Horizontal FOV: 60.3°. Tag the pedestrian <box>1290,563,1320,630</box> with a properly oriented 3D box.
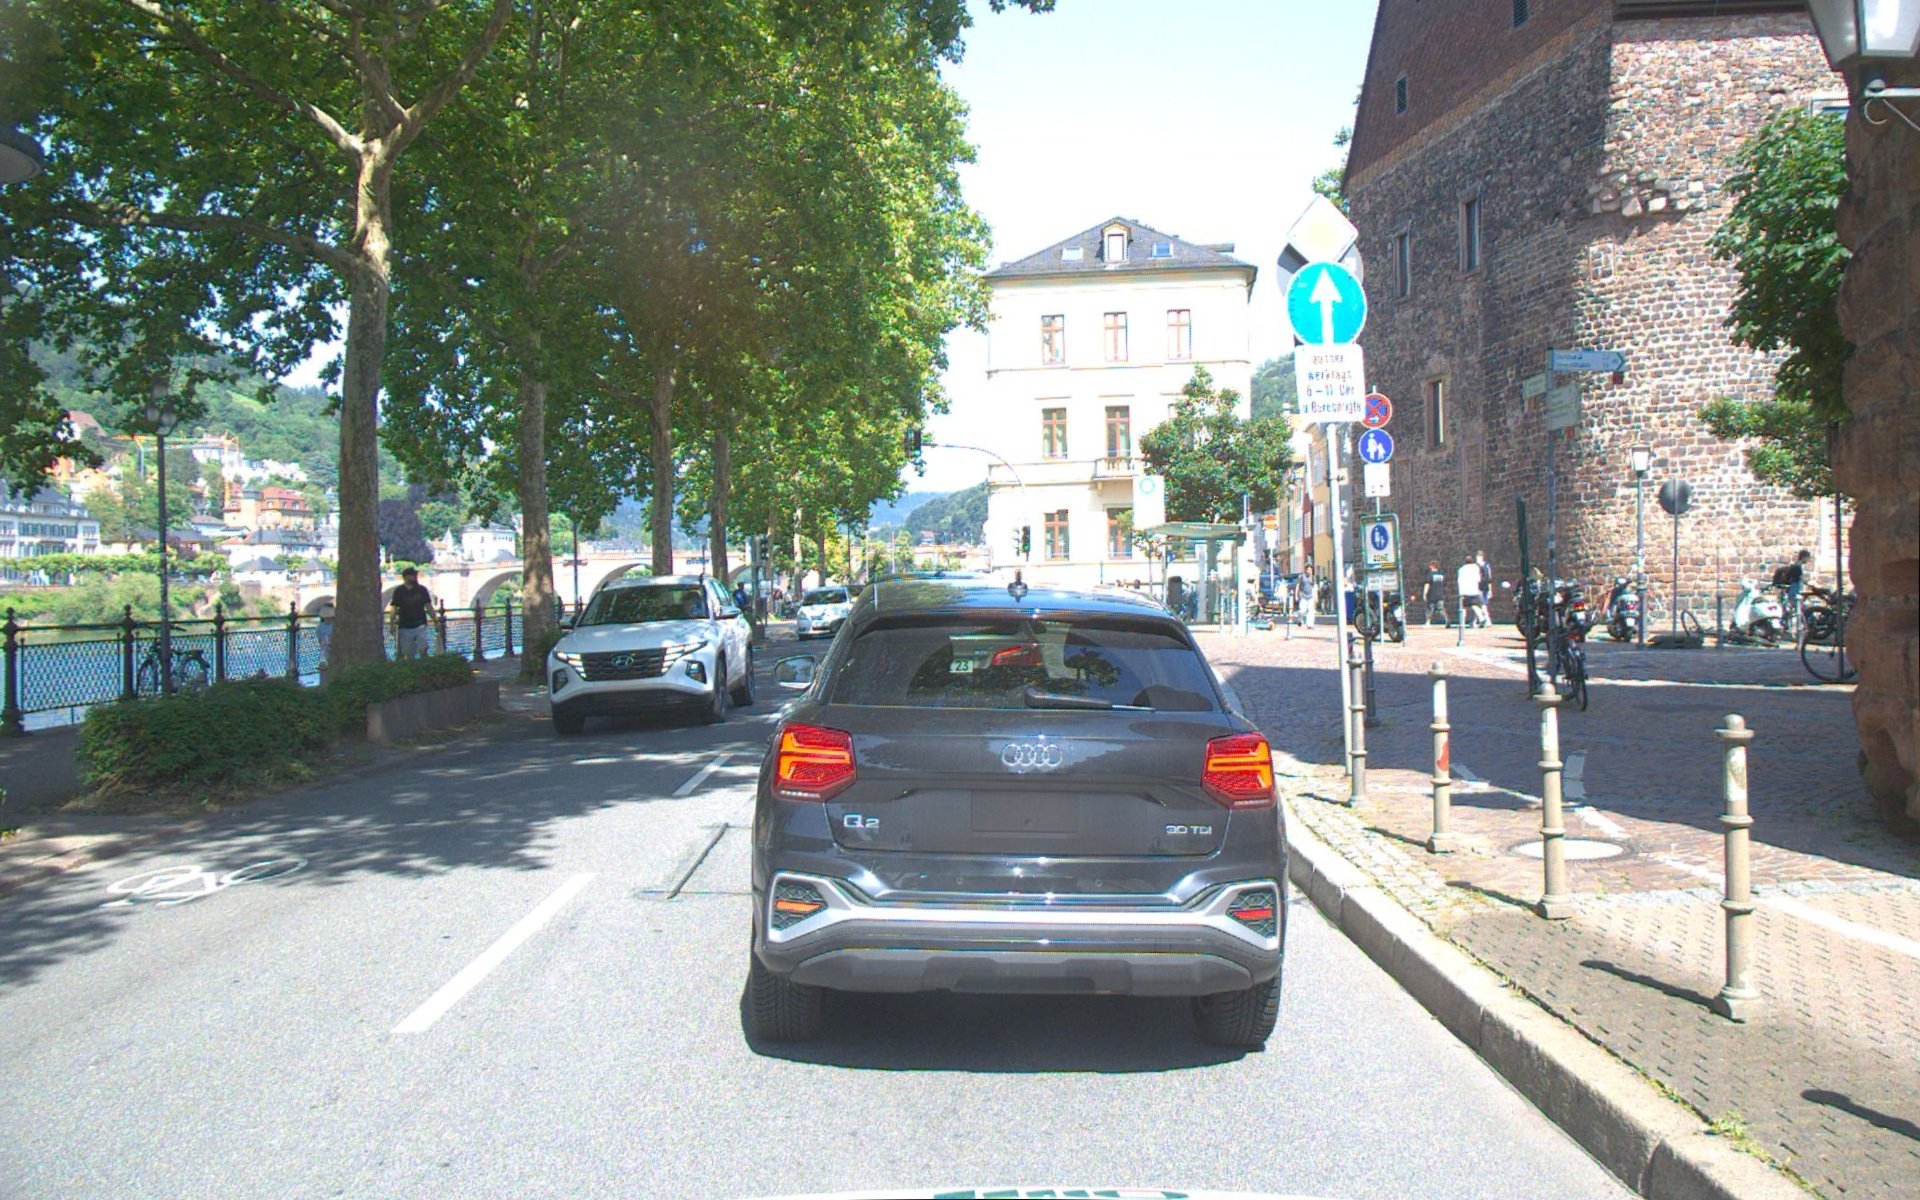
[{"bbox_3d":[10.017,-0.100,48.024,0.732,1.923,0.752,1,-1,1],"label":"pedestrian"}]

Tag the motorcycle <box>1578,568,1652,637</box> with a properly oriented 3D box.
[{"bbox_3d":[12.311,0.056,31.142,0.535,1.257,2.030,1,0,-1],"label":"motorcycle"}]

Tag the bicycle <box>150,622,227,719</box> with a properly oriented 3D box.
[{"bbox_3d":[-9.533,0.856,20.467,0.352,1.110,1.295,2,0,-2],"label":"bicycle"}]

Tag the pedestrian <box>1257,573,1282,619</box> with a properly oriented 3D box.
[{"bbox_3d":[13.891,-0.187,74.278,0.925,2.049,0.807,1,-1,-1],"label":"pedestrian"}]

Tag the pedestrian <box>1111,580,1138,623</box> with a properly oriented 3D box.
[{"bbox_3d":[4.779,0.035,48.174,0.651,1.233,0.640,1,-1,-7],"label":"pedestrian"}]

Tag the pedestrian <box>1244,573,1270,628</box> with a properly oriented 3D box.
[{"bbox_3d":[7.659,0.017,42.668,0.546,1.409,0.588,1,-1,1],"label":"pedestrian"}]

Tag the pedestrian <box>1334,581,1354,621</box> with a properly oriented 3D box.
[{"bbox_3d":[16.086,0.053,69.275,0.677,1.640,0.891,-2,0,21],"label":"pedestrian"}]

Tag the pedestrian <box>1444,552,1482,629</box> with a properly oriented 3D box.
[{"bbox_3d":[12.678,-0.243,41.695,0.655,1.917,0.821,1,-1,-2],"label":"pedestrian"}]

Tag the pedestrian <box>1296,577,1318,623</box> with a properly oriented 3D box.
[{"bbox_3d":[15.622,-0.009,74.464,0.822,2.049,0.738,1,-1,-1],"label":"pedestrian"}]

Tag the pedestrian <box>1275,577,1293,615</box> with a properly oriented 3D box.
[{"bbox_3d":[13.566,-0.164,69.246,0.610,1.558,0.466,1,-1,-5],"label":"pedestrian"}]

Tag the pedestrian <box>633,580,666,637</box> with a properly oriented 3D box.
[{"bbox_3d":[-10.255,0.285,54.627,0.891,1.843,0.586,1,-2,3],"label":"pedestrian"}]

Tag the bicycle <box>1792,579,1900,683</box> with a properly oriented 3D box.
[{"bbox_3d":[10.604,0.344,19.849,0.437,1.182,1.731,-1,1,3],"label":"bicycle"}]

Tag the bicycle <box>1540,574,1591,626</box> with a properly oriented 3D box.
[{"bbox_3d":[14.807,0.007,40.493,0.381,1.230,1.715,1,0,-9],"label":"bicycle"}]

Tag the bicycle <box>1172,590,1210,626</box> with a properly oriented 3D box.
[{"bbox_3d":[6.858,0.234,49.101,1.184,1.053,0.178,1,-1,-20],"label":"bicycle"}]

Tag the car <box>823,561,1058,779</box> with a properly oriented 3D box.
[{"bbox_3d":[-0.172,0.516,14.228,1.756,1.623,3.398,1,0,-1],"label":"car"}]

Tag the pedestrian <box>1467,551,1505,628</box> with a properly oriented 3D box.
[{"bbox_3d":[13.429,-0.267,42.237,0.655,1.954,0.821,1,-1,-2],"label":"pedestrian"}]

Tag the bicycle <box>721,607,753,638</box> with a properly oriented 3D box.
[{"bbox_3d":[-7.505,0.752,55.712,1.072,1.024,0.303,1,-1,-8],"label":"bicycle"}]

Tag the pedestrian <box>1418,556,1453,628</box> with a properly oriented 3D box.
[{"bbox_3d":[12.331,-0.206,42.903,0.639,1.834,0.847,0,0,-2],"label":"pedestrian"}]

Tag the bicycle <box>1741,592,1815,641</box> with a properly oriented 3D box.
[{"bbox_3d":[15.128,0.292,30.624,0.346,0.835,1.926,1,1,-2],"label":"bicycle"}]

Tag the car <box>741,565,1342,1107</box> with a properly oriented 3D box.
[{"bbox_3d":[0.213,0.663,6.586,1.707,1.535,3.646,1,1,-1],"label":"car"}]

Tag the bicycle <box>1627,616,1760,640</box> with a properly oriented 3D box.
[{"bbox_3d":[12.271,0.464,27.727,1.887,0.388,0.918,0,-1,14],"label":"bicycle"}]

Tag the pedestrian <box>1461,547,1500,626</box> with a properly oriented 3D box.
[{"bbox_3d":[13.587,-0.348,43.184,0.715,2.049,0.878,1,-1,-1],"label":"pedestrian"}]

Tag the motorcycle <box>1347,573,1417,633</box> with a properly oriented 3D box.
[{"bbox_3d":[7.690,0.038,30.230,0.555,1.030,2.489,-1,1,-2],"label":"motorcycle"}]

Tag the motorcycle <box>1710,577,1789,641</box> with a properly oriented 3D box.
[{"bbox_3d":[14.084,0.157,29.548,0.496,1.092,1.840,1,0,-1],"label":"motorcycle"}]

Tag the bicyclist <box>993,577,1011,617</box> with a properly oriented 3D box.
[{"bbox_3d":[1.565,-0.100,61.547,0.593,1.475,0.590,1,-1,-6],"label":"bicyclist"}]

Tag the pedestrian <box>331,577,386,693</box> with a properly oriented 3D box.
[{"bbox_3d":[-9.035,0.517,24.857,0.589,1.715,0.583,-1,0,-2],"label":"pedestrian"}]

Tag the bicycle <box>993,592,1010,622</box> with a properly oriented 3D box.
[{"bbox_3d":[1.548,0.248,61.536,0.428,1.105,1.675,1,0,-5],"label":"bicycle"}]

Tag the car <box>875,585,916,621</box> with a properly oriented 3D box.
[{"bbox_3d":[-3.393,0.186,88.201,1.952,1.838,4.000,1,0,1],"label":"car"}]

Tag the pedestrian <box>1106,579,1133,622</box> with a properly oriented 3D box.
[{"bbox_3d":[4.718,0.013,48.939,0.651,1.253,0.640,1,-1,-7],"label":"pedestrian"}]

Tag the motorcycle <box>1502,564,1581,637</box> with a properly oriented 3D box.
[{"bbox_3d":[10.586,0.016,30.192,0.642,1.288,2.199,0,0,-1],"label":"motorcycle"}]

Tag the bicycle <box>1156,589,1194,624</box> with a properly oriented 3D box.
[{"bbox_3d":[6.455,0.205,49.672,1.166,1.033,0.178,1,-1,-20],"label":"bicycle"}]

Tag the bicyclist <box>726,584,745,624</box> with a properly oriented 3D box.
[{"bbox_3d":[-7.563,0.149,55.733,0.555,1.334,0.551,1,-1,-5],"label":"bicyclist"}]

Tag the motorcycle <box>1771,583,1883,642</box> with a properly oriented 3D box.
[{"bbox_3d":[16.413,0.229,31.324,1.826,1.072,0.480,1,-1,7],"label":"motorcycle"}]

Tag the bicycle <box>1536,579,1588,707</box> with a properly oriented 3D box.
[{"bbox_3d":[6.132,0.401,16.882,0.189,1.225,1.771,0,1,10],"label":"bicycle"}]

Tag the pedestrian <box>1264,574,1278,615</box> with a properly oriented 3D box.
[{"bbox_3d":[13.037,-0.237,69.230,0.440,1.710,0.465,1,-1,-6],"label":"pedestrian"}]

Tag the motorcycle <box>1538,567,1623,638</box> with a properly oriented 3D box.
[{"bbox_3d":[11.418,0.051,30.505,0.661,1.257,2.312,1,0,-1],"label":"motorcycle"}]

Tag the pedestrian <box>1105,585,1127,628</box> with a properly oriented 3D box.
[{"bbox_3d":[5.551,0.227,58.729,0.679,1.526,0.513,1,-1,-5],"label":"pedestrian"}]

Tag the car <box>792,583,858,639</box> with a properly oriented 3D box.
[{"bbox_3d":[-4.257,0.316,52.589,1.703,1.599,4.091,-4,1,-1],"label":"car"}]

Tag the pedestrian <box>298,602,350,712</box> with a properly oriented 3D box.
[{"bbox_3d":[-8.147,0.721,21.205,0.469,1.386,0.417,1,0,3],"label":"pedestrian"}]

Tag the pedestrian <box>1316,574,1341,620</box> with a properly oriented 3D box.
[{"bbox_3d":[16.619,-0.112,74.628,0.921,2.049,0.807,1,-1,-1],"label":"pedestrian"}]

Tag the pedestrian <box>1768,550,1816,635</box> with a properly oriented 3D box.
[{"bbox_3d":[16.726,-0.147,33.262,0.791,1.691,0.656,-1,0,24],"label":"pedestrian"}]

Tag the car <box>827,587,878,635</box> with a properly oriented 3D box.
[{"bbox_3d":[-4.505,0.443,69.969,1.777,1.754,4.421,-6,1,-1],"label":"car"}]

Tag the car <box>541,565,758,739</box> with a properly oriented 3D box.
[{"bbox_3d":[-3.467,0.523,19.174,1.733,1.689,3.999,-4,0,-1],"label":"car"}]

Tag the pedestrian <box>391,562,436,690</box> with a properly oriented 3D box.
[{"bbox_3d":[-8.288,0.391,25.094,0.523,1.920,0.436,0,0,-1],"label":"pedestrian"}]

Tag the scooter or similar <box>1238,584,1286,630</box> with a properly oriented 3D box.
[{"bbox_3d":[7.201,0.161,39.469,1.067,1.084,0.323,1,-1,-3],"label":"scooter or similar"}]
